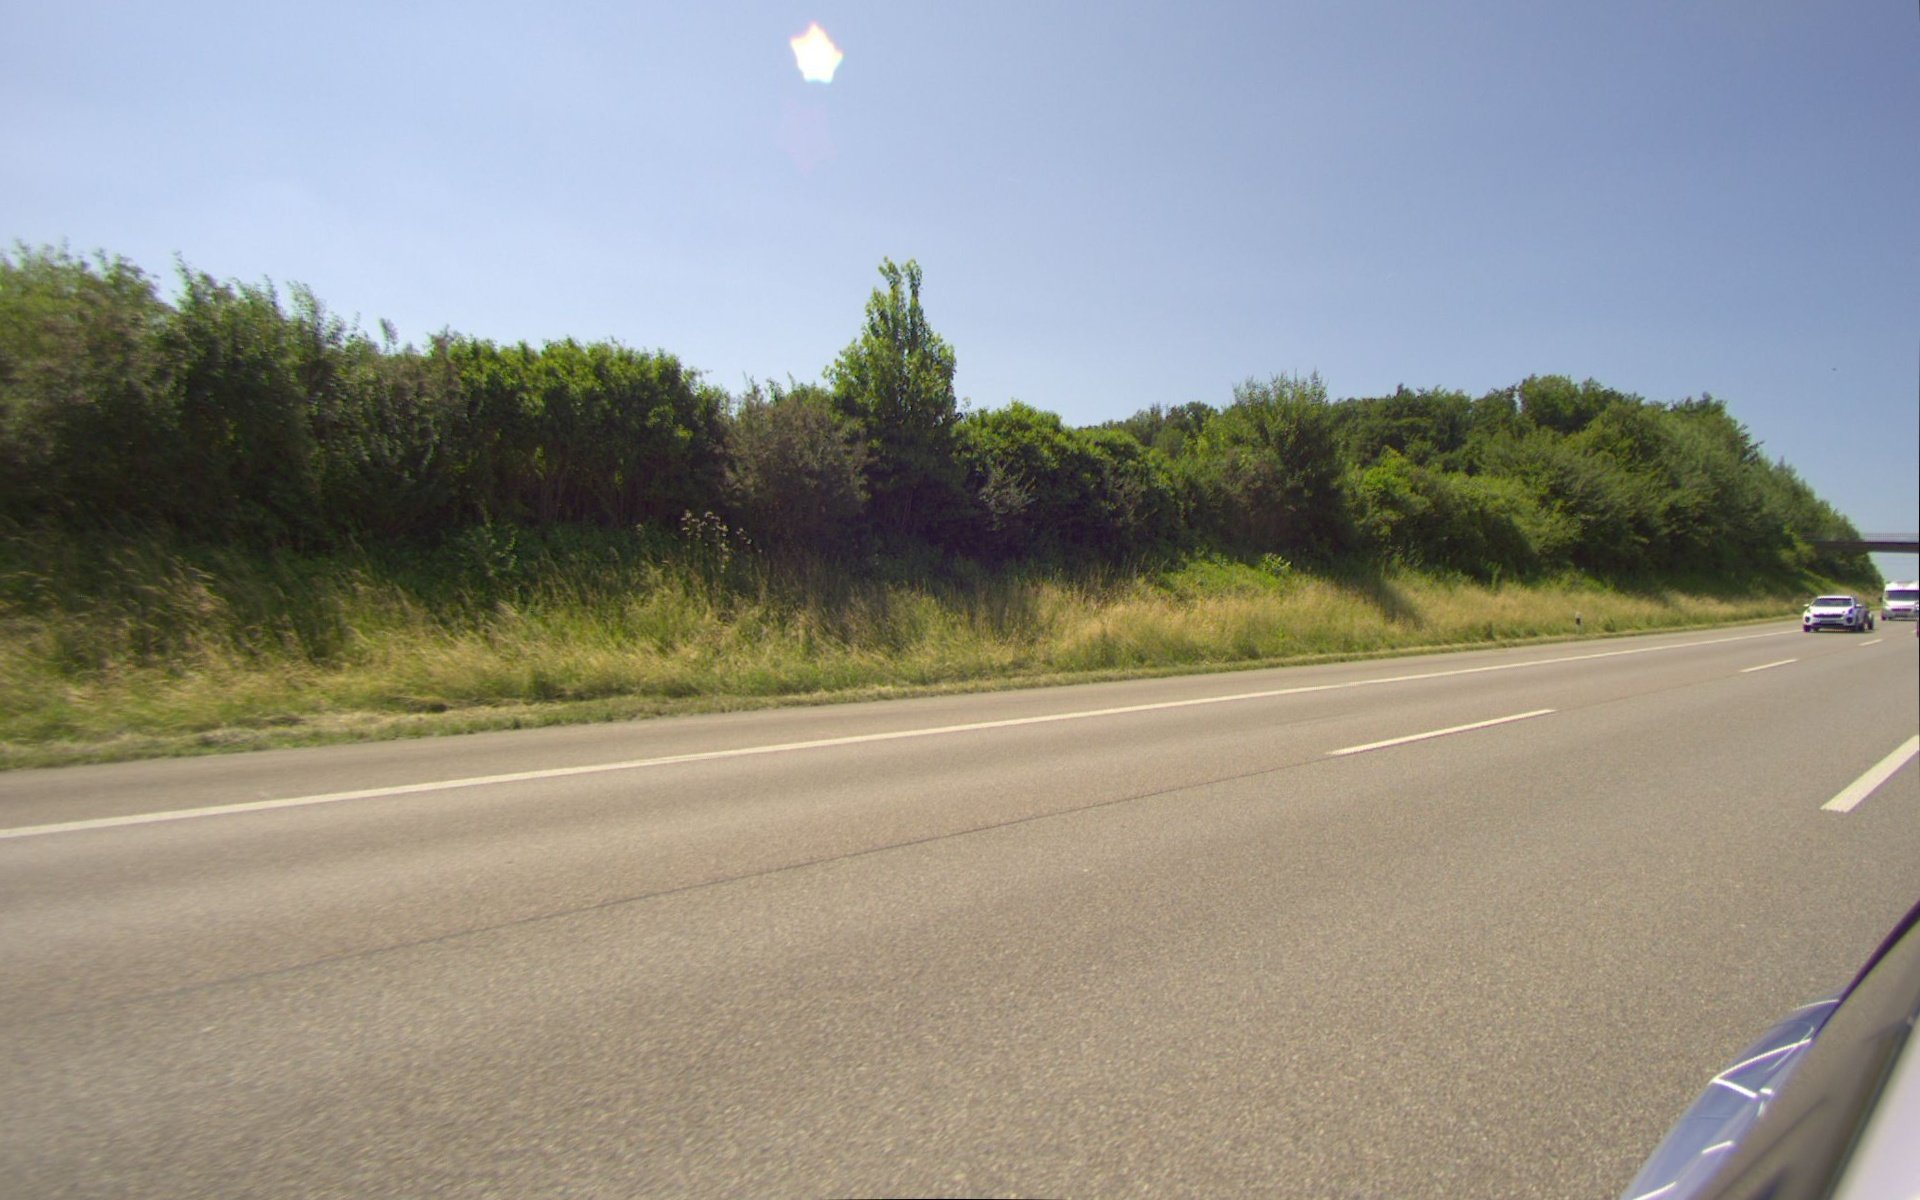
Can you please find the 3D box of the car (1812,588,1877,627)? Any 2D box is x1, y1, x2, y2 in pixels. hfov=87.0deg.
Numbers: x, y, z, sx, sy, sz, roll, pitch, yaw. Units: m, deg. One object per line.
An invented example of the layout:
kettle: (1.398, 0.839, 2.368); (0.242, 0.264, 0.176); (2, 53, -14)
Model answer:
car: (40.199, 0.361, 45.959); (4.328, 1.672, 1.783); (1, -1, -43)

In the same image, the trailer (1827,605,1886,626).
trailer: (43.340, 0.722, 48.899); (4.246, 0.920, 1.756); (0, 0, -43)

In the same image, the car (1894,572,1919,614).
car: (62.421, -0.404, 65.922); (2.087, 2.609, 6.523); (0, -1, 40)
